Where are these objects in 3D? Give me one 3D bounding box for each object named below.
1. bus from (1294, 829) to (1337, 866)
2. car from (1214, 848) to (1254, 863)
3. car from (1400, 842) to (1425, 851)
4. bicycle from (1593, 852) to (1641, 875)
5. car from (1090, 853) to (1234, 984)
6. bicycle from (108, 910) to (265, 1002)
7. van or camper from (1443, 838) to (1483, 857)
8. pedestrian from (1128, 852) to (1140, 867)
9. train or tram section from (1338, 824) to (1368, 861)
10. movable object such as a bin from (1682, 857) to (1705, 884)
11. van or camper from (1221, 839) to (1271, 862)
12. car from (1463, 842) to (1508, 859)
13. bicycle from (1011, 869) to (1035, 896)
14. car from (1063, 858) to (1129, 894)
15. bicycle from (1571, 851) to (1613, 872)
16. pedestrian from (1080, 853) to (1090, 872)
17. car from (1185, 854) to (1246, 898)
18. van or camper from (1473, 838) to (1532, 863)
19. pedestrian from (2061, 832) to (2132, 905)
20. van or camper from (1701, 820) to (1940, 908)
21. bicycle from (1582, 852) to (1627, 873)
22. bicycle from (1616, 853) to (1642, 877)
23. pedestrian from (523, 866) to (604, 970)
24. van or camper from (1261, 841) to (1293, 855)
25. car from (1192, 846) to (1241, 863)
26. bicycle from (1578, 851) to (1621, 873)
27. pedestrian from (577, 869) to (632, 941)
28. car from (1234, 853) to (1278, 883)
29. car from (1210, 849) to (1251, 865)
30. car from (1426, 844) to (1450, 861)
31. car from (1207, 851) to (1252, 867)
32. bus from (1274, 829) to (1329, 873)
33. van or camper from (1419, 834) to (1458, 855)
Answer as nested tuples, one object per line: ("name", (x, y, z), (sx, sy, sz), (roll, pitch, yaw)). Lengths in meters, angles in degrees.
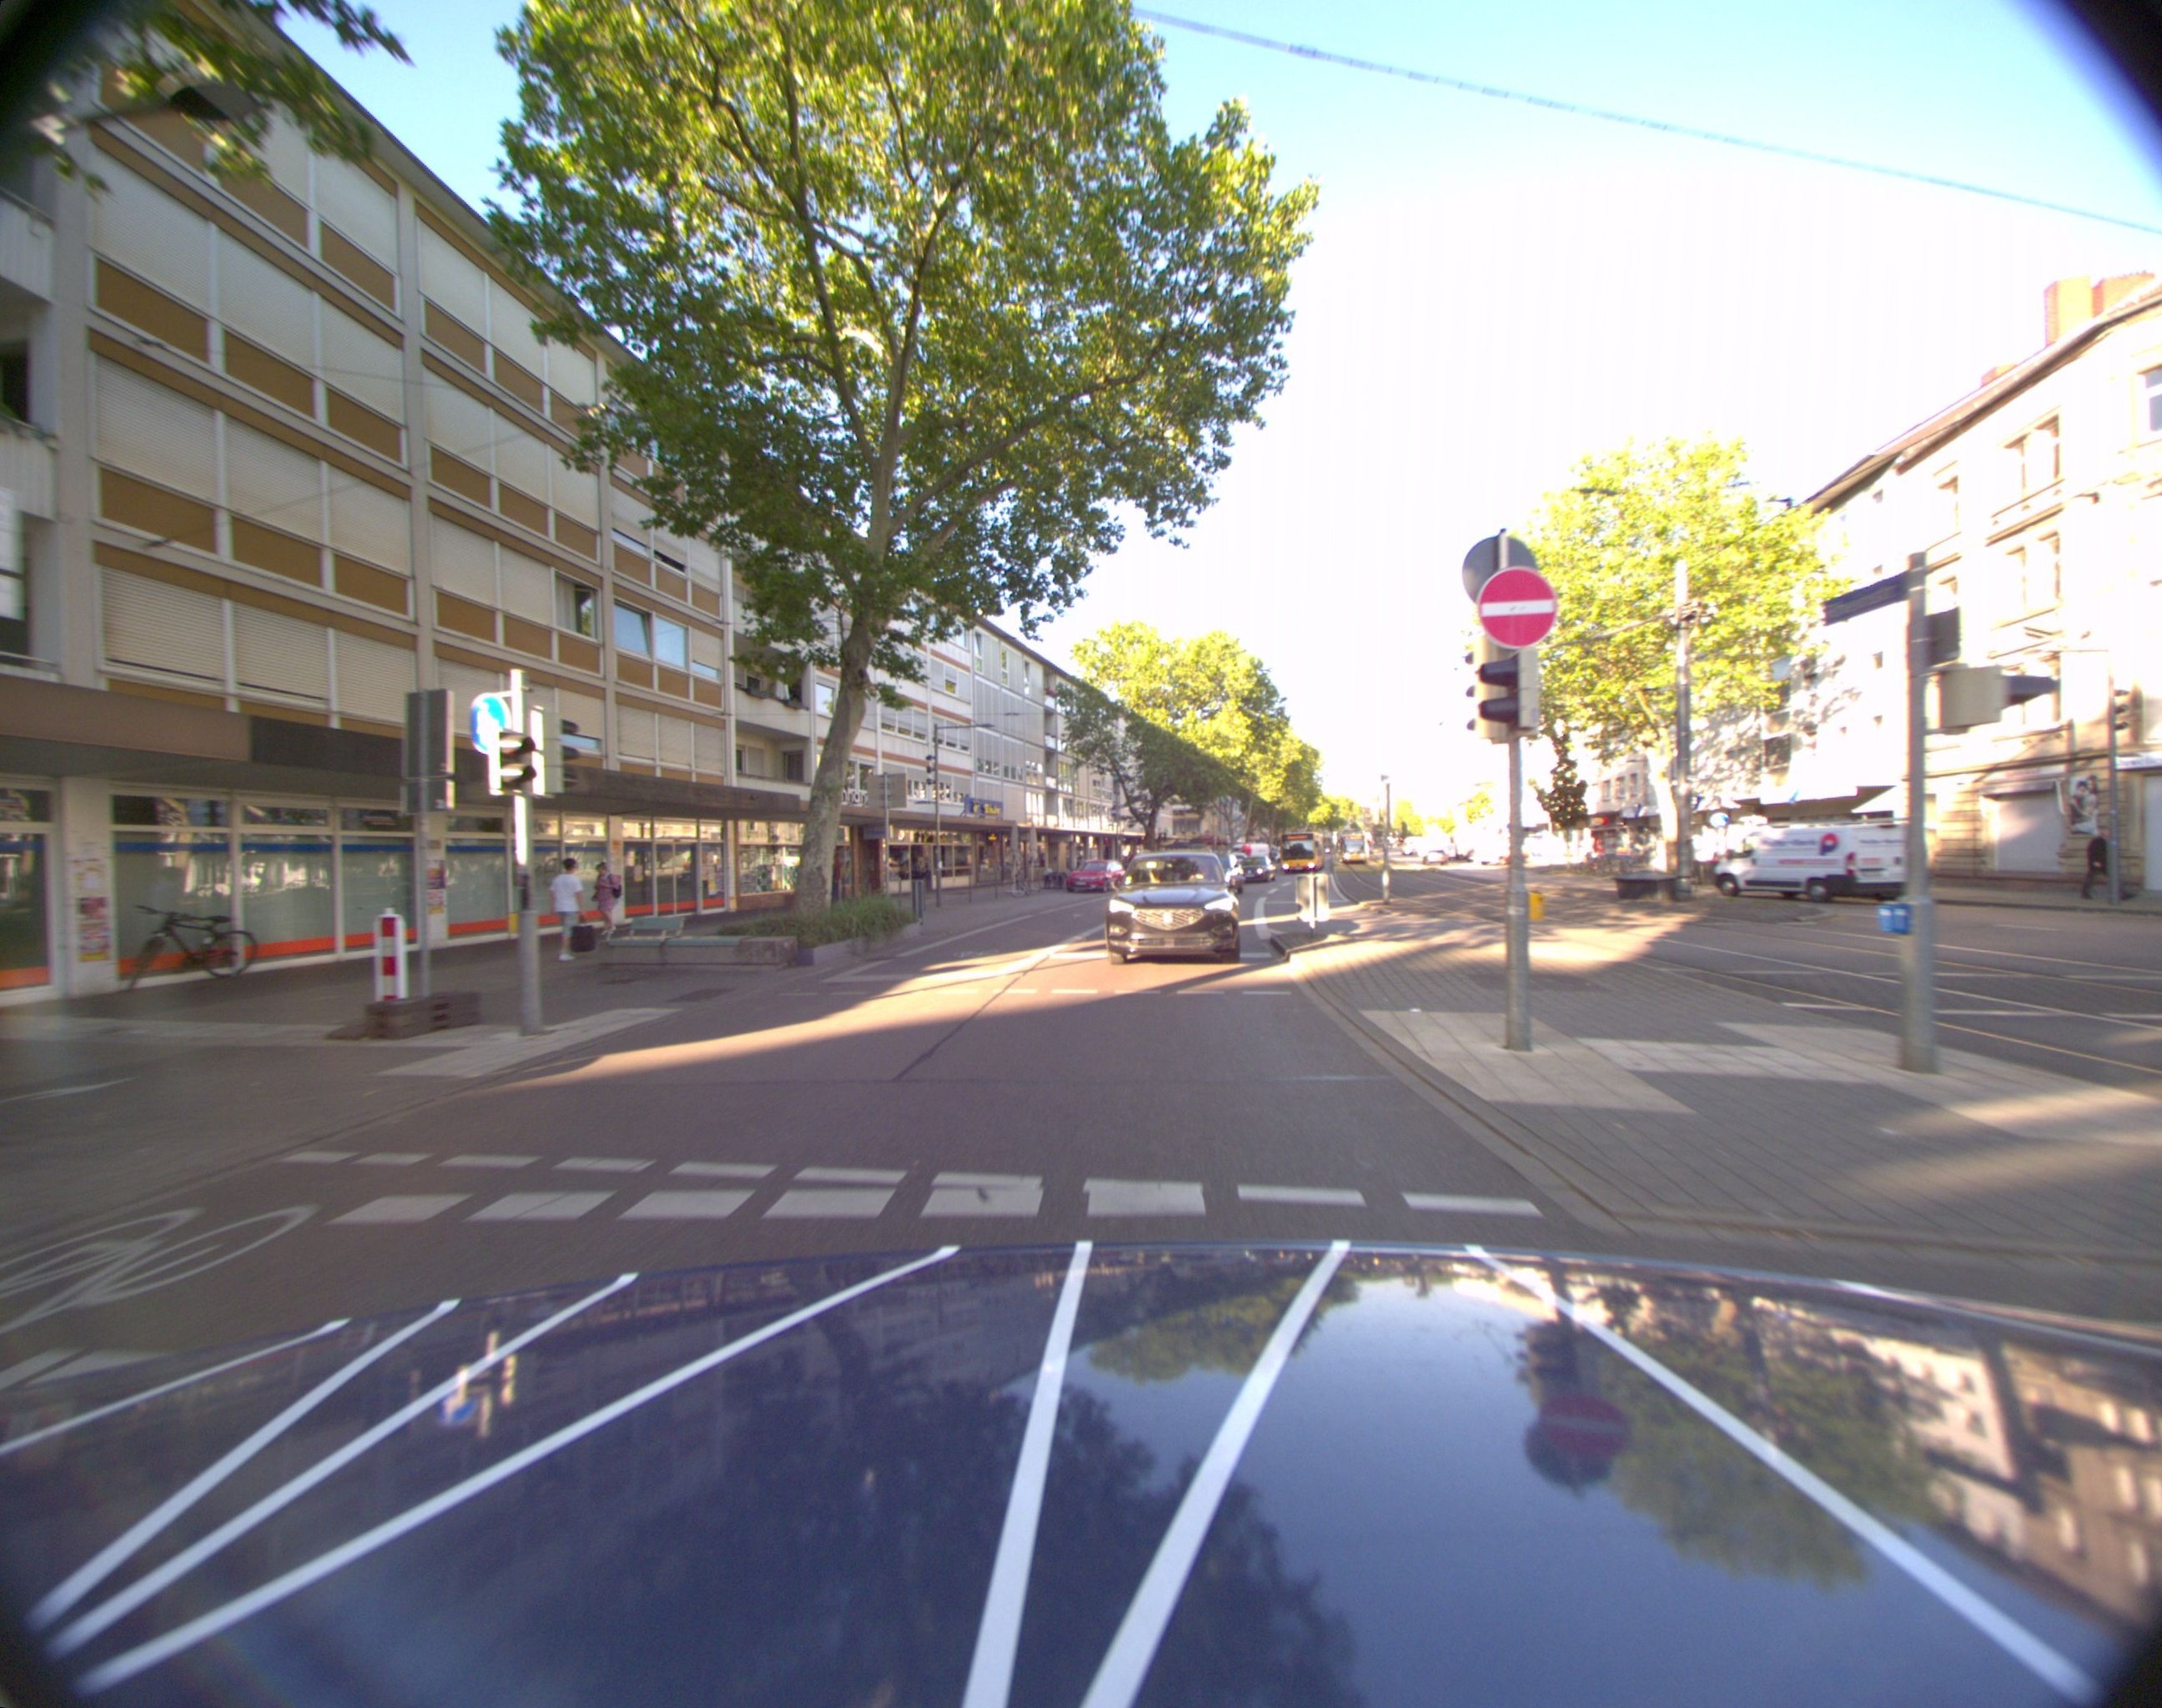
("bus", (22.144, -0.756, 71.351), (2.868, 2.961, 12.255), (-3, 1, 21))
("car", (16.617, 0.183, 82.602), (4.004, 1.555, 1.656), (-1, 2, -22))
("car", (62.308, -1.443, 142.752), (3.914, 1.481, 1.769), (-3, 0, -4))
("bicycle", (28.068, 0.488, 39.821), (1.896, 1.117, 0.653), (-2, 0, 16))
("car", (1.269, 0.840, 11.784), (1.807, 1.638, 4.002), (-1, 1, 7))
("bicycle", (-12.551, 1.398, 10.724), (0.438, 1.086, 1.462), (1, 1, 4))
("van or camper", (45.170, -0.780, 89.783), (4.456, 1.978, 1.797), (-3, 0, -26))
("pedestrian", (4.884, 0.490, 70.071), (0.749, 1.354, 0.964), (-1, 1, 23))
("train or tram section", (28.295, -1.178, 78.762), (2.634, 3.430, 11.145), (-2, 0, 20))
("movable object such as a bin", (25.284, 0.661, 31.373), (0.648, 1.087, 0.544), (-1, 0, -32))
("van or camper", (19.432, -0.414, 89.455), (5.468, 2.455, 1.996), (-2, 1, -22))
("car", (40.936, -0.323, 76.829), (4.457, 1.481, 1.766), (-3, 0, -28))
("bicycle", (-2.442, 1.214, 32.346), (0.512, 1.064, 1.663), (1, 1, 14))
("car", (0.804, 1.005, 36.524), (1.780, 1.488, 4.573), (1, 1, 19))
("bicycle", (29.172, 0.426, 43.434), (1.896, 1.117, 0.535), (-2, 0, 16))
("pedestrian", (0.287, 0.624, 55.652), (0.537, 1.393, 0.688), (1, 2, 18))
("car", (5.363, 0.821, 29.871), (1.656, 1.571, 4.006), (-1, 0, 20))
("van or camper", (36.787, -0.274, 66.264), (4.820, 1.886, 1.948), (-3, 0, -24))
("pedestrian", (25.657, 0.349, 19.213), (0.619, 1.777, 0.972), (-3, 0, 23))
("van or camper", (21.527, 0.267, 22.544), (2.172, 2.305, 5.104), (0, 0, 1))
("bicycle", (28.568, 0.463, 41.464), (1.896, 1.117, 0.653), (-2, 0, 16))
("bicycle", (27.069, 0.515, 37.563), (0.509, 1.117, 1.914), (-2, 0, 20))
("pedestrian", (-8.815, 1.070, 12.967), (0.837, 1.702, 0.793), (1, 0, -1))
("van or camper", (34.590, -1.034, 133.963), (5.469, 2.455, 1.996), (-2, 1, -24))
("car", (11.873, 0.017, 66.362), (4.005, 1.428, 1.656), (-1, 2, -25))
("bicycle", (28.808, 0.447, 42.231), (1.896, 1.117, 0.535), (-2, 0, 16))
("pedestrian", (-10.601, 1.116, 16.914), (0.640, 1.543, 0.808), (0, 1, 10))
("car", (9.658, 0.741, 41.731), (1.656, 1.477, 4.167), (-1, 0, 22))
("car", (15.676, 0.280, 79.528), (4.004, 1.514, 1.656), (-1, 2, -22))
("car", (31.808, -0.164, 67.686), (1.887, 1.464, 4.214), (-1, 0, 25))
("car", (14.271, 0.426, 73.053), (4.004, 1.428, 1.656), (-1, 2, -22))
("bus", (17.590, -0.357, 59.993), (2.868, 2.961, 12.256), (-3, 1, 22))
("van or camper", (51.572, -1.381, 109.646), (6.408, 2.651, 1.995), (-3, 0, -34))
